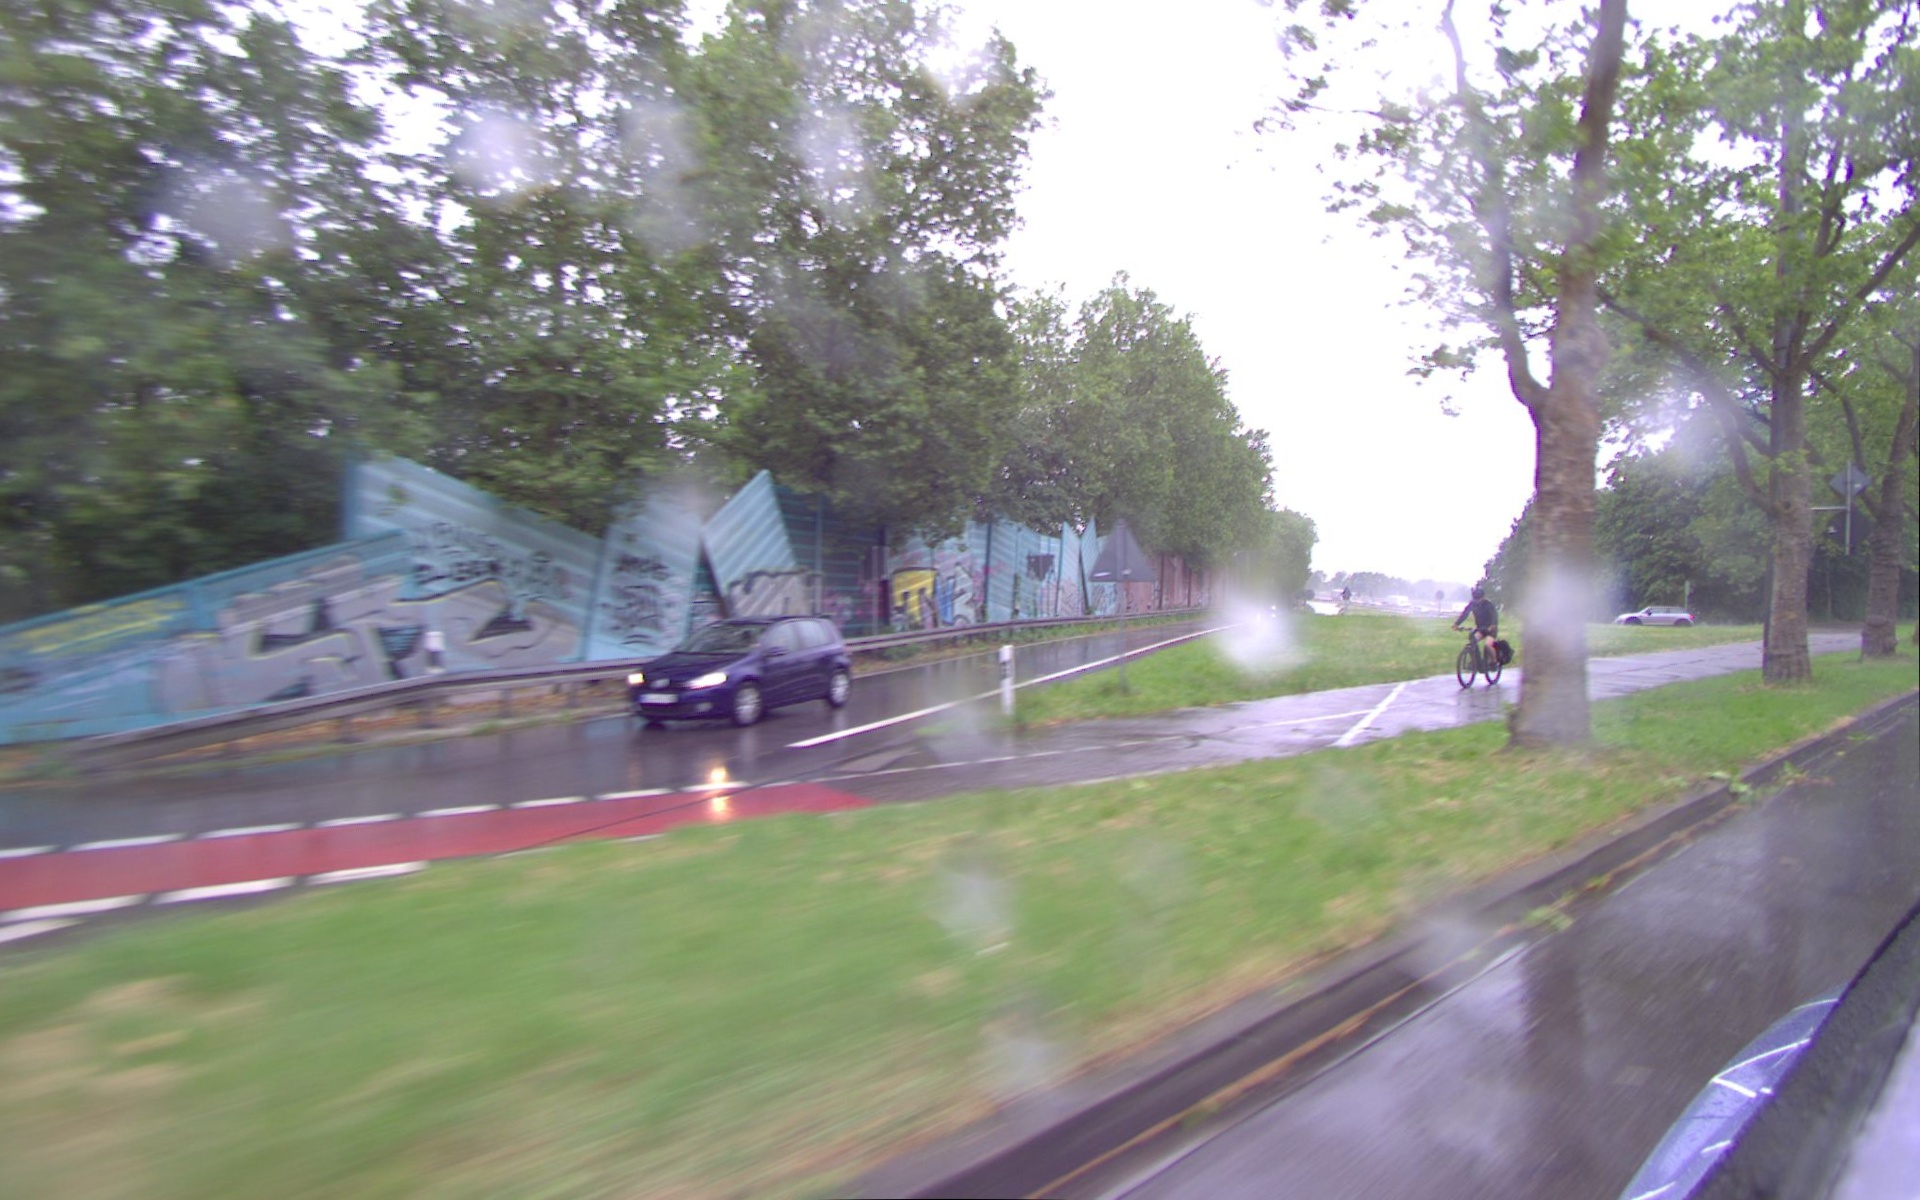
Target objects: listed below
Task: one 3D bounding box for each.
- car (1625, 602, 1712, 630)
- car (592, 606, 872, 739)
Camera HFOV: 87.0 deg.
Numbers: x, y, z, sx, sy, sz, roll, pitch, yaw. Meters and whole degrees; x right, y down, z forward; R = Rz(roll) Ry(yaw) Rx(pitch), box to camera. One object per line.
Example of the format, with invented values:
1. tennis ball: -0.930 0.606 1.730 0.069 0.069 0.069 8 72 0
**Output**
1. car: 42.326 0.938 60.586 3.959 1.437 1.737 2 2 26
2. car: -3.144 0.915 14.998 1.847 1.556 4.483 0 1 22
